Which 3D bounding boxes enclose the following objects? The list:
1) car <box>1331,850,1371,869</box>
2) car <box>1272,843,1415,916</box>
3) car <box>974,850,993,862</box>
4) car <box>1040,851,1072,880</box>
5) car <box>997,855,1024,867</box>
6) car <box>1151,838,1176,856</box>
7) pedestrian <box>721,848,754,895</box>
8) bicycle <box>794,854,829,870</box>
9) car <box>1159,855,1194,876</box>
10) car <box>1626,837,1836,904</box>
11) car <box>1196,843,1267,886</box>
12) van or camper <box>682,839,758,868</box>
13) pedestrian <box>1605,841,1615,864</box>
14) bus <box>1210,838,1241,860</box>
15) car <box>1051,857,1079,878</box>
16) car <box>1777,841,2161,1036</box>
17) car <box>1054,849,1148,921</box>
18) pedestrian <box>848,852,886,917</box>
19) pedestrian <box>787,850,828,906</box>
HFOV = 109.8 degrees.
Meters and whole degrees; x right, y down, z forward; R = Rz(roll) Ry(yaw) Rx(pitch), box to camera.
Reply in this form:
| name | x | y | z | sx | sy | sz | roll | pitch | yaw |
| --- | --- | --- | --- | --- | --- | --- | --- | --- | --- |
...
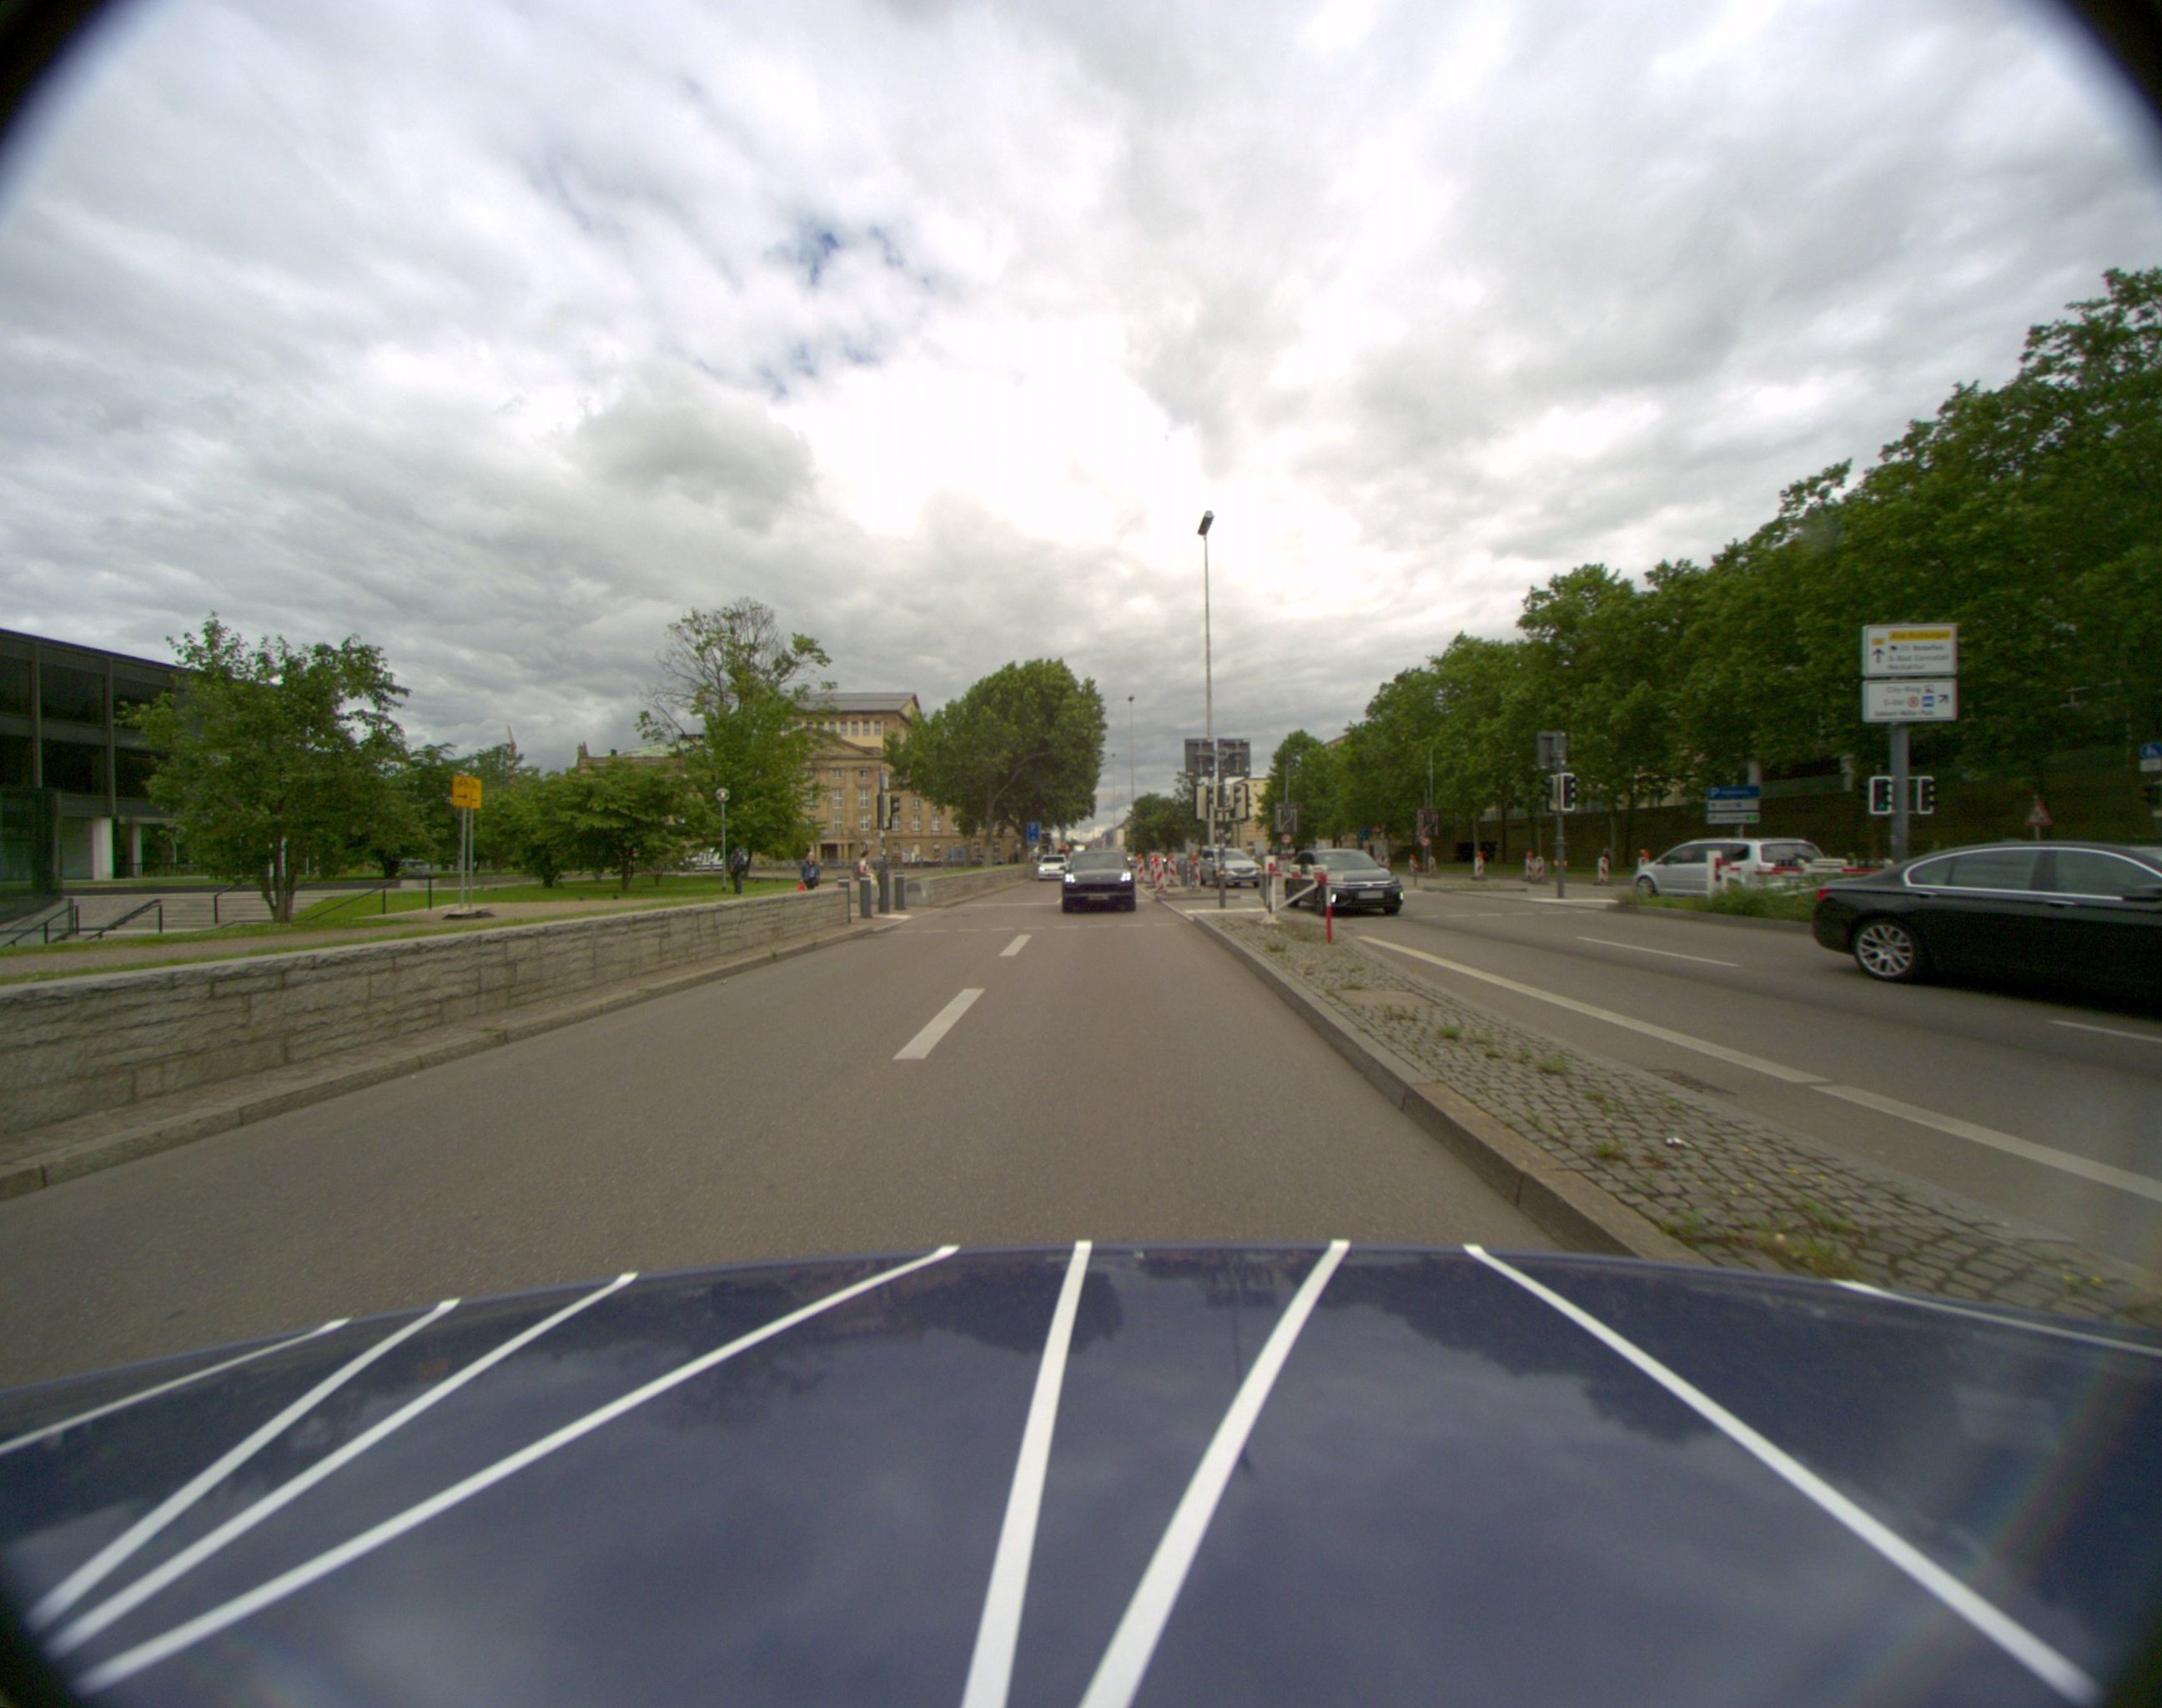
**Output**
| name | x | y | z | sx | sy | sz | roll | pitch | yaw |
| --- | --- | --- | --- | --- | --- | --- | --- | --- | --- |
| car | 20.462 | 0.416 | 57.735 | 1.730 | 1.364 | 4.000 | 0 | 0 | 1 |
| car | 6.203 | 0.519 | 18.513 | 1.768 | 1.507 | 4.150 | -2 | 1 | -4 |
| car | -12.955 | 0.236 | 101.103 | 1.768 | 1.508 | 4.218 | -1 | -1 | 2 |
| car | -1.545 | 0.679 | 47.614 | 1.696 | 1.585 | 3.999 | -3 | 1 | 1 |
| car | -10.546 | 1.082 | 113.730 | 3.998 | 1.587 | 1.734 | -3 | 1 | -4 |
| car | 8.112 | -0.668 | 75.013 | 1.999 | 1.636 | 3.999 | -2 | 0 | -1 |
| pedestrian | -11.905 | 0.599 | 26.370 | 0.803 | 1.617 | 0.626 | 0 | 1 | 8 |
| bicycle | -19.073 | 0.553 | 53.780 | 2.197 | 1.135 | 0.685 | 0 | 1 | 0 |
| car | 7.444 | 0.869 | 59.518 | 1.999 | 1.474 | 4.808 | -1 | 0 | -1 |
| car | 15.836 | 0.359 | 18.838 | 1.741 | 1.481 | 4.044 | 0 | 0 | 1 |
| car | 6.290 | 0.375 | 32.312 | 1.999 | 1.607 | 4.737 | -1 | 1 | 0 |
| van or camper | -32.664 | -0.082 | 68.856 | 5.711 | 2.307 | 2.319 | -2 | 2 | 0 |
| pedestrian | 36.671 | -0.098 | 52.676 | 0.355 | 1.598 | 0.443 | -3 | 2 | -6 |
| bus | 23.419 | -0.830 | 123.917 | 2.920 | 3.286 | 10.447 | -1 | 1 | -1 |
| car | -1.408 | 1.132 | 65.012 | 2.062 | 1.616 | 4.599 | -3 | 1 | -4 |
| car | 9.267 | 0.631 | 6.636 | 1.998 | 1.474 | 4.809 | -1 | 0 | 0 |
| car | 0.406 | 0.754 | 20.527 | 2.062 | 1.616 | 4.600 | -4 | 0 | -4 |
| pedestrian | -5.596 | 0.789 | 19.903 | 0.699 | 1.646 | 0.683 | -3 | 2 | -1 |
| pedestrian | -7.986 | 0.683 | 22.214 | 0.683 | 1.553 | 0.909 | 2 | 1 | 17 |
